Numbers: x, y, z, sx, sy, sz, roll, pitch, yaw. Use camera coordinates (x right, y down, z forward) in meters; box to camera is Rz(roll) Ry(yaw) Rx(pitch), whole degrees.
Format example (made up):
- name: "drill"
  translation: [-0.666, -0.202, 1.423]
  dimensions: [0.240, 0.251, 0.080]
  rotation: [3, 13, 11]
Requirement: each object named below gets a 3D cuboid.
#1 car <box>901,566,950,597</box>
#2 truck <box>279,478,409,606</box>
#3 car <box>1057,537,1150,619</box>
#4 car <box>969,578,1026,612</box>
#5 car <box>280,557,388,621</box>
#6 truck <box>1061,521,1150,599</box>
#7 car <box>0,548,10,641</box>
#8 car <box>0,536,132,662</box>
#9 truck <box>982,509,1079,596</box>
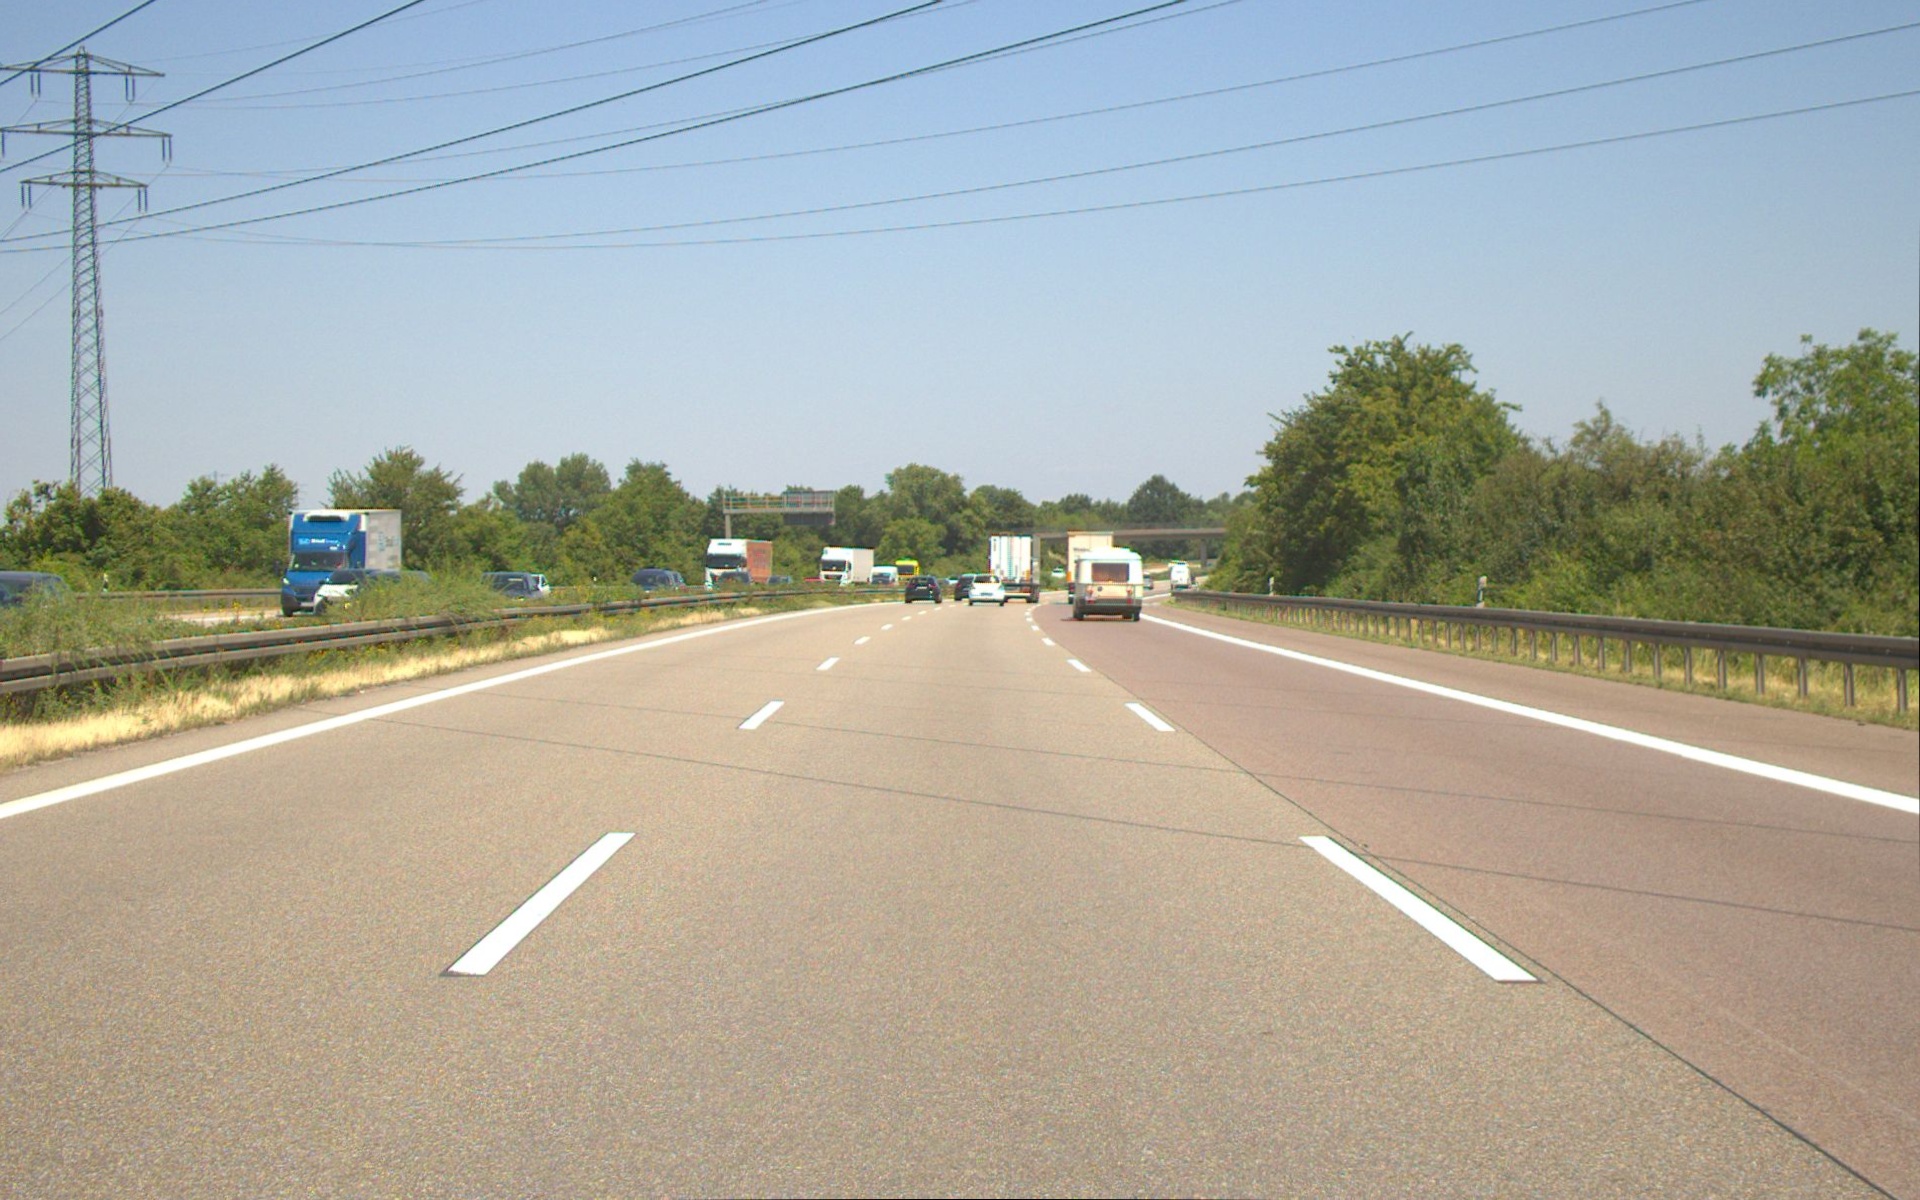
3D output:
- name: "car"
  translation: [-1.808, -0.973, 179.628]
  dimensions: [1.828, 1.542, 4.317]
  rotation: [1, 1, 9]
- name: "truck"
  translation: [-20.301, -1.958, 113.830]
  dimensions: [2.453, 3.962, 9.672]
  rotation: [-2, 1, 0]
- name: "car"
  translation: [4.305, -0.696, 103.766]
  dimensions: [2.442, 2.313, 5.322]
  rotation: [-1, 2, -1]
- name: "car"
  translation: [1.809, -0.250, 164.702]
  dimensions: [1.829, 1.542, 4.316]
  rotation: [1, 1, 13]
- name: "car"
  translation: [-16.946, -0.312, 93.220]
  dimensions: [1.993, 1.612, 5.017]
  rotation: [1, 1, 0]
- name: "truck"
  translation: [8.576, -2.430, 200.583]
  dimensions: [3.182, 4.289, 16.011]
  rotation: [1, 1, 10]
- name: "car"
  translation: [-17.675, -0.051, 57.914]
  dimensions: [1.944, 1.612, 5.017]
  rotation: [1, 1, 0]
- name: "car"
  translation: [-13.055, -0.060, 47.806]
  dimensions: [1.828, 1.613, 5.017]
  rotation: [1, 1, 0]
- name: "truck"
  translation: [4.386, -2.952, 208.495]
  dimensions: [3.668, 5.001, 16.012]
  rotation: [1, 1, 9]
